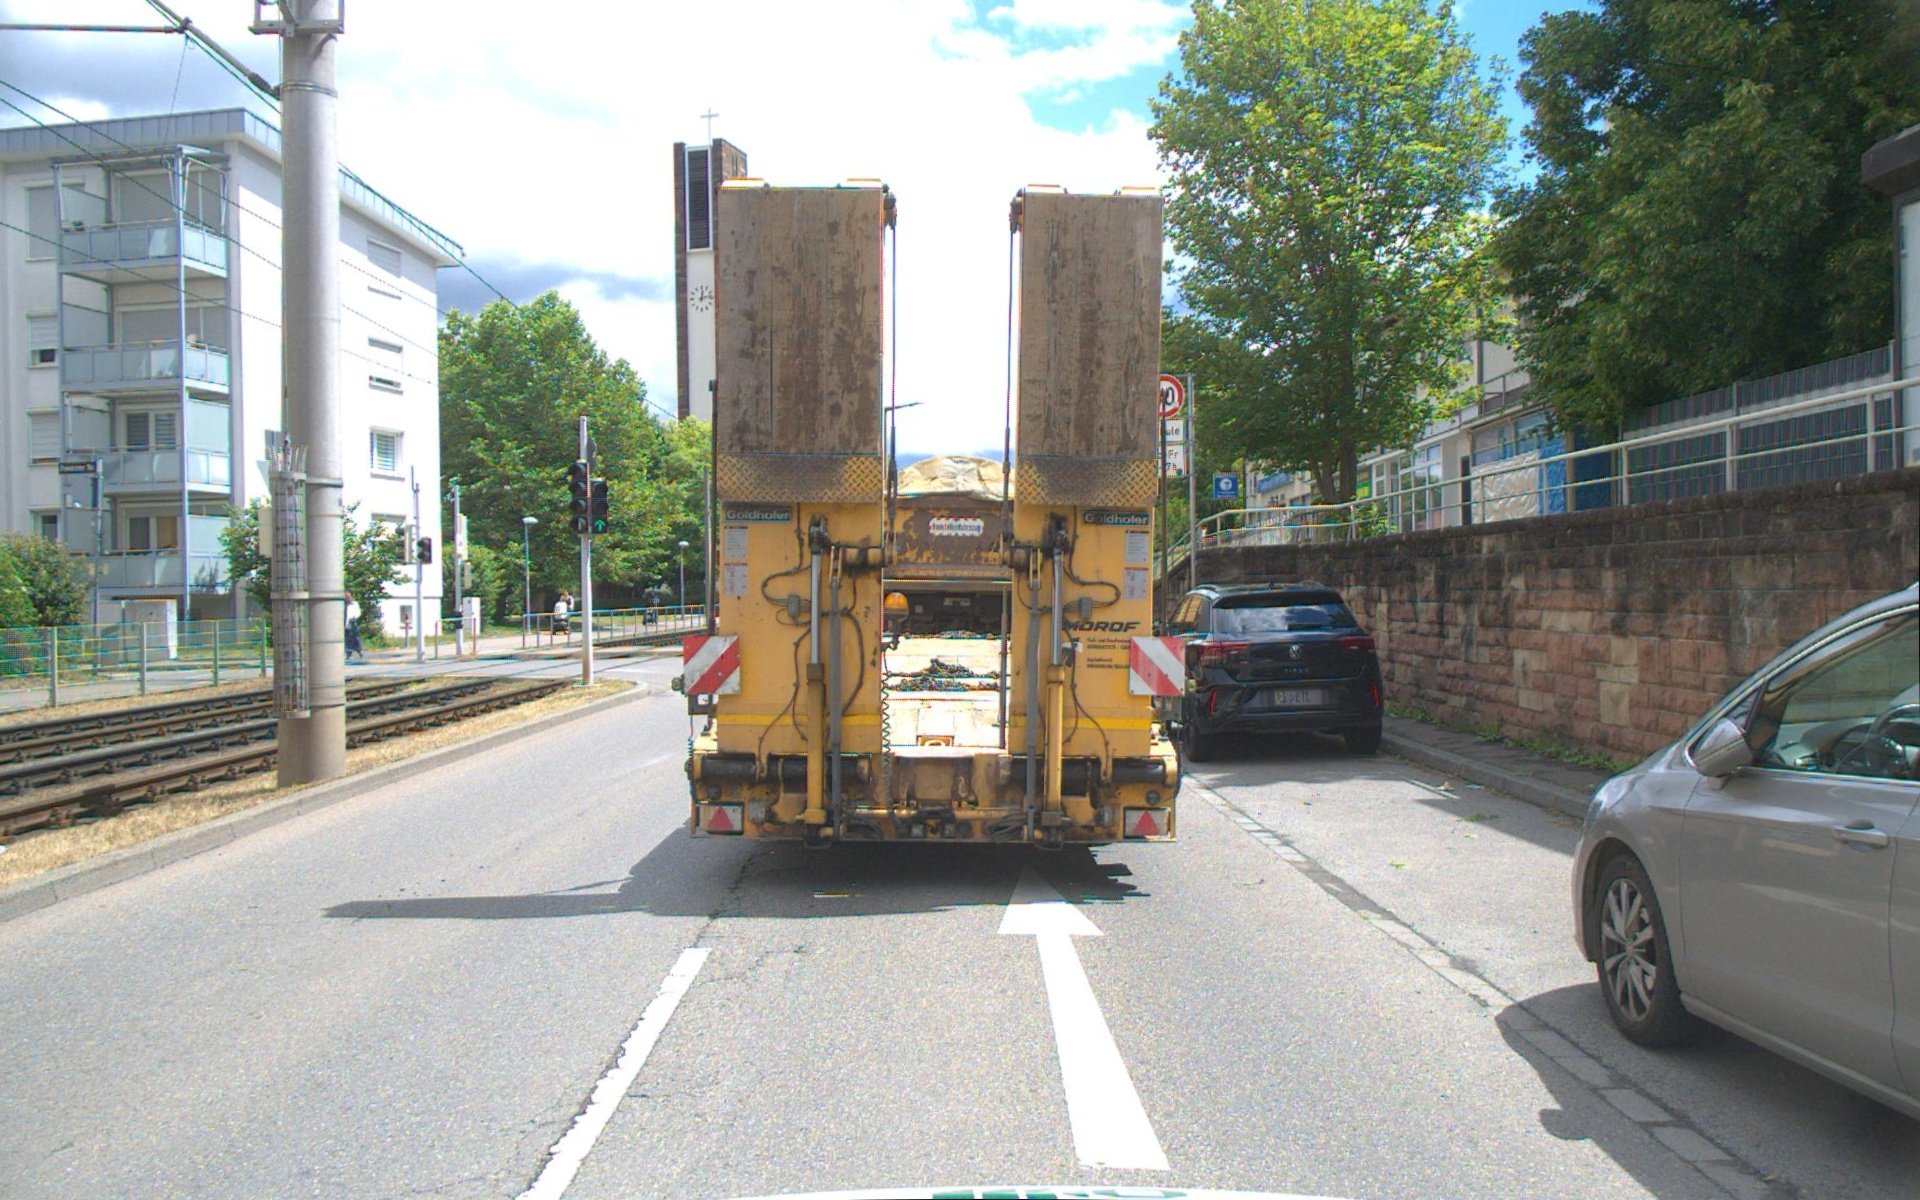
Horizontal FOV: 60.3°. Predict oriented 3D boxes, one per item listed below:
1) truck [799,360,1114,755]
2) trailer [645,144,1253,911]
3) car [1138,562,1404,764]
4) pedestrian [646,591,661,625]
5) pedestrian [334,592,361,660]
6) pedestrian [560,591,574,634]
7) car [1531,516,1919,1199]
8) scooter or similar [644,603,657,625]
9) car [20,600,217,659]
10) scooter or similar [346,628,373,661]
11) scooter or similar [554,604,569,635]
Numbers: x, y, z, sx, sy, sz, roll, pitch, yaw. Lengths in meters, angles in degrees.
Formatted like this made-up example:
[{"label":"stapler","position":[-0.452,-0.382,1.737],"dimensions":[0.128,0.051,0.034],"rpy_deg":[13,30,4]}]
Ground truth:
[{"label":"truck","position":[-0.028,-0.409,17.705],"dimensions":[2.882,3.635,4.876],"rpy_deg":[0,0,0]},{"label":"trailer","position":[-0.042,-0.381,12.335],"dimensions":[2.885,3.664,8.683],"rpy_deg":[-1,0,0]},{"label":"car","position":[2.894,0.532,16.249],"dimensions":[1.813,1.668,4.000],"rpy_deg":[-2,0,0]},{"label":"pedestrian","position":[-14.355,0.372,77.427],"dimensions":[0.552,1.540,0.645],"rpy_deg":[1,0,-2]},{"label":"pedestrian","position":[-14.534,0.616,39.268],"dimensions":[0.428,1.608,0.475],"rpy_deg":[0,0,4]},{"label":"pedestrian","position":[-14.353,0.449,60.370],"dimensions":[0.341,1.564,0.557],"rpy_deg":[-1,0,3]},{"label":"car","position":[3.149,0.594,4.250],"dimensions":[1.754,1.646,4.247],"rpy_deg":[-2,0,-2]},{"label":"scooter or similar","position":[-14.374,0.643,76.771],"dimensions":[0.495,0.988,0.645],"rpy_deg":[1,0,-2]},{"label":"car","position":[-20.615,0.710,40.609],"dimensions":[3.902,1.369,1.903],"rpy_deg":[-1,0,7]},{"label":"scooter or similar","position":[-14.130,1.051,38.930],"dimensions":[0.428,0.760,0.475],"rpy_deg":[0,0,4]},{"label":"scooter or similar","position":[-14.375,0.700,59.729],"dimensions":[0.331,1.076,0.688],"rpy_deg":[-1,1,3]}]
